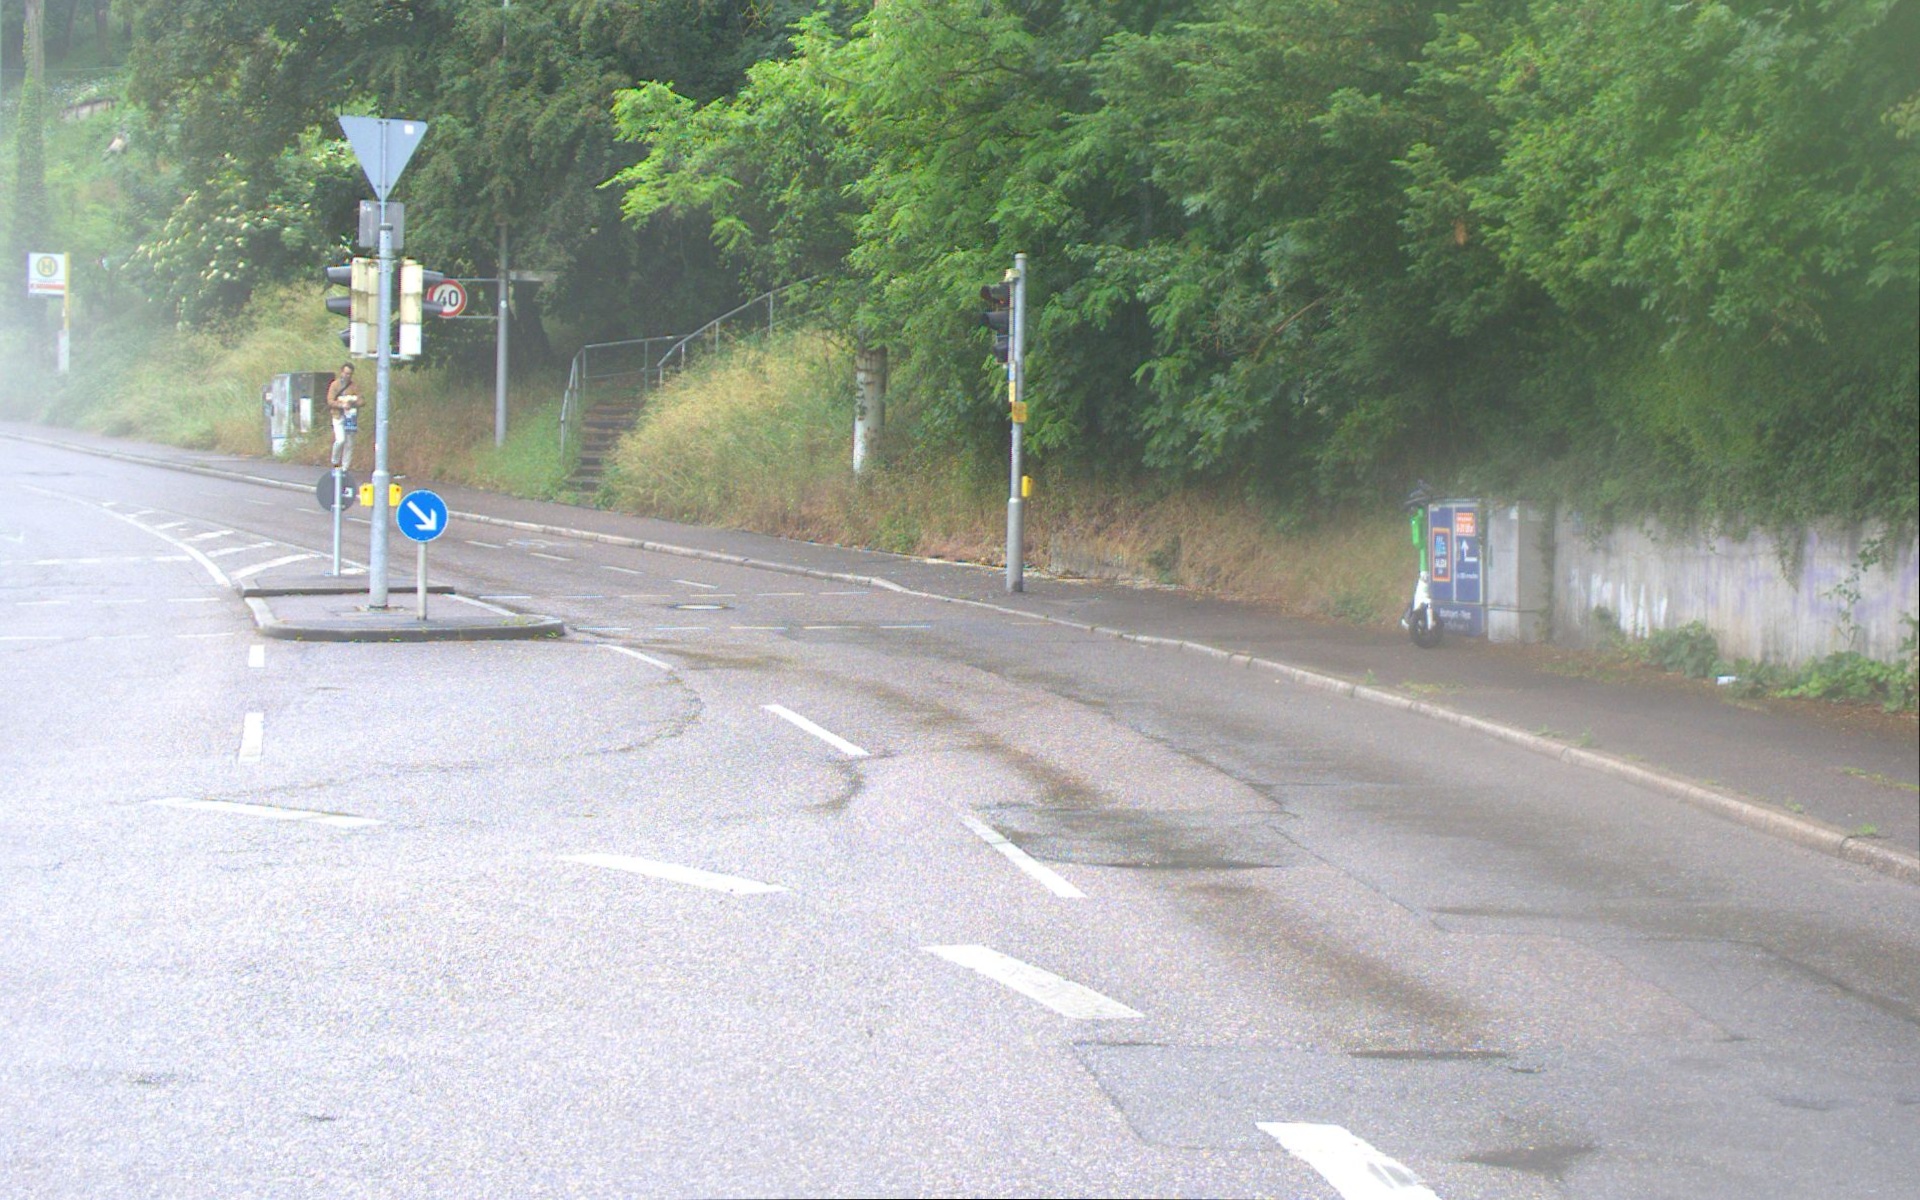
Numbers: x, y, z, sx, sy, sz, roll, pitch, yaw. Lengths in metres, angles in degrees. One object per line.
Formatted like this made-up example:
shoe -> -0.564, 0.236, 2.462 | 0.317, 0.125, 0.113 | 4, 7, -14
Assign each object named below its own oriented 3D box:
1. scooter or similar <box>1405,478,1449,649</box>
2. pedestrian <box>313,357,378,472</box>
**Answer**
scooter or similar -> 3.593, -0.291, 26.481 | 0.322, 1.275, 0.751 | 0, 4, 7
pedestrian -> -9.534, -2.866, 53.345 | 0.880, 1.730, 0.866 | 0, 0, -17
